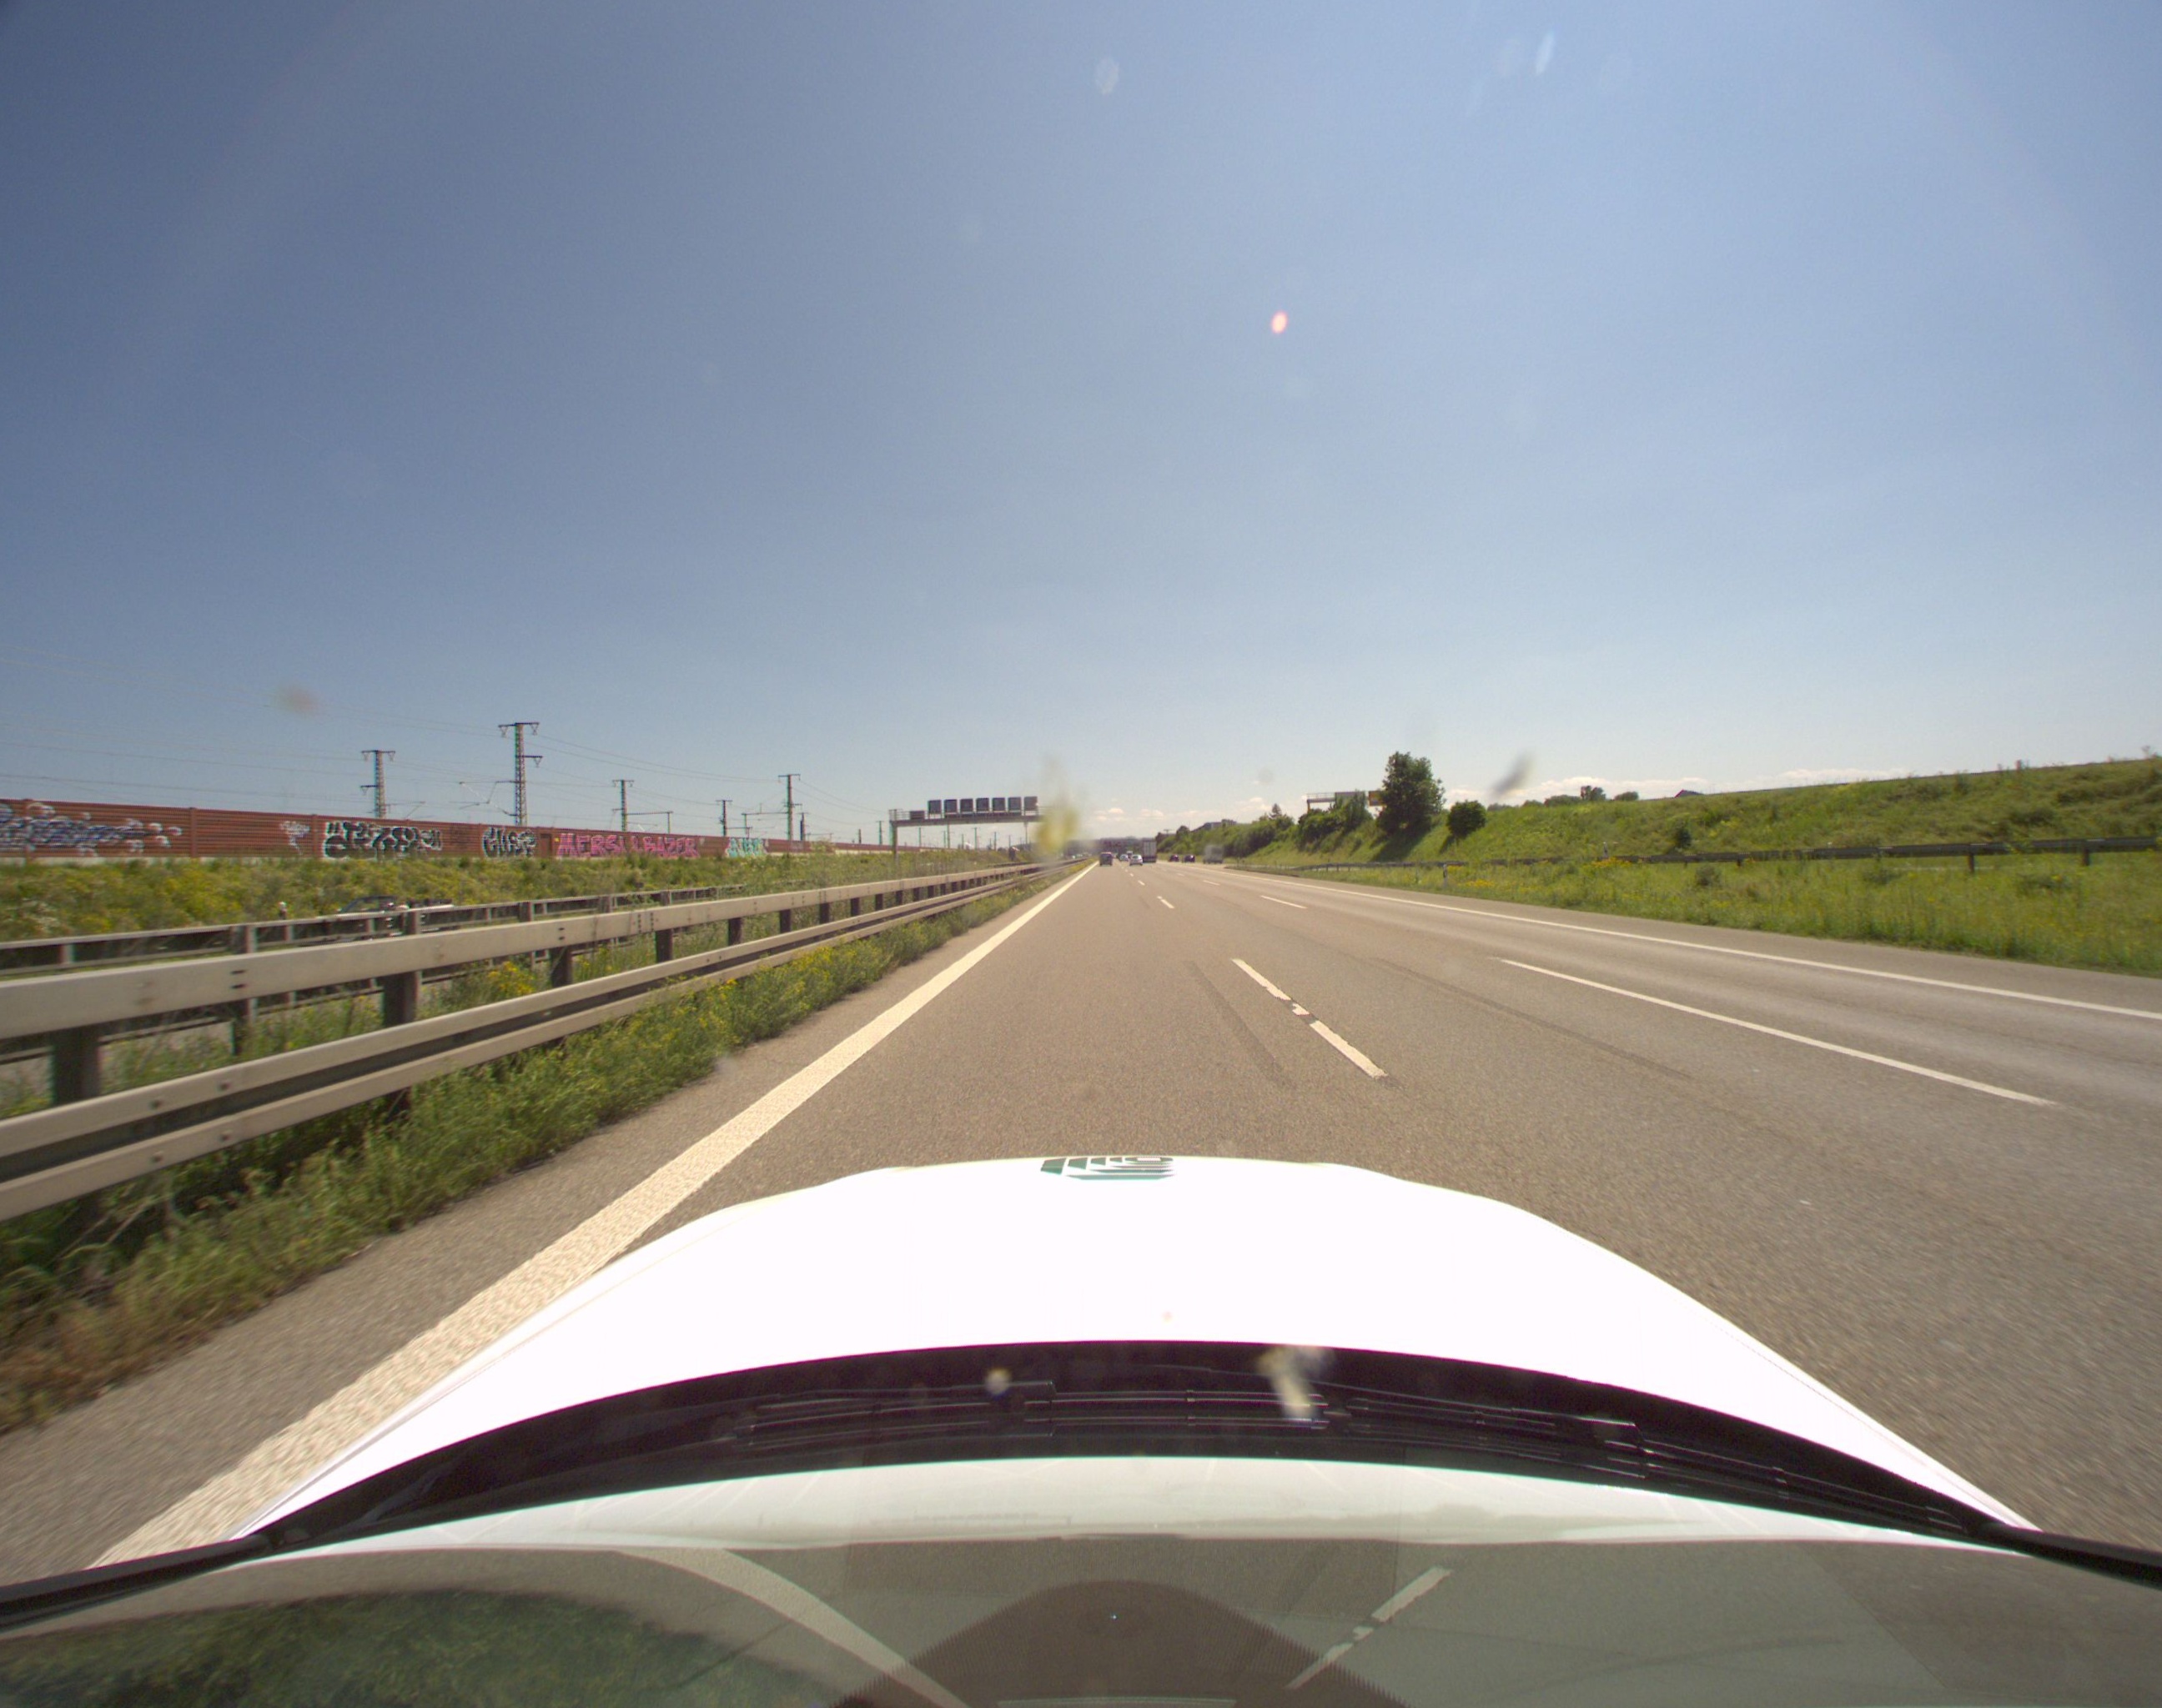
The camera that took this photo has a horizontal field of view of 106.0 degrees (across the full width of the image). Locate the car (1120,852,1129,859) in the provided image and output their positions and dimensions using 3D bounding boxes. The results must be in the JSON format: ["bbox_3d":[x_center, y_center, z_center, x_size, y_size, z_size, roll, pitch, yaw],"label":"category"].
[{"bbox_3d":[9.560,0.397,178.396,1.873,1.526,4.003,-1,-1,3],"label":"car"}]

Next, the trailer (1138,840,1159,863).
[{"bbox_3d":[12.345,-0.461,149.726,3.165,4.059,9.444,-2,0,2],"label":"trailer"}]

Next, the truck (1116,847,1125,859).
[{"bbox_3d":[10.713,-0.270,220.670,2.346,3.416,6.060,-1,0,2],"label":"truck"}]

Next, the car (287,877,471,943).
[{"bbox_3d":[-19.340,1.482,22.680,1.714,1.544,3.811,-1,0,2],"label":"car"}]

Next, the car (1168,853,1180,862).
[{"bbox_3d":[18.606,0.755,163.159,1.986,1.596,4.001,0,-1,1],"label":"car"}]

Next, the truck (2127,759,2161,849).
[{"bbox_3d":[26.367,-1.214,16.547,2.160,2.092,6.110,-1,0,-4],"label":"truck"}]

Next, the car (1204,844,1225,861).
[{"bbox_3d":[20.272,-0.273,123.917,2.266,2.528,5.400,-1,0,1],"label":"car"}]

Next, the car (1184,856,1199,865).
[{"bbox_3d":[19.356,1.118,142.711,1.987,1.508,3.998,0,-1,-1],"label":"car"}]

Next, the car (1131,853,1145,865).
[{"bbox_3d":[7.804,0.692,111.269,1.872,1.526,4.005,-1,-1,5],"label":"car"}]

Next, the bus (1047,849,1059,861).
[{"bbox_3d":[-8.290,0.296,242.235,2.846,3.645,10.945,0,0,2],"label":"bus"}]

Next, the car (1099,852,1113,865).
[{"bbox_3d":[3.502,0.608,112.326,1.873,1.775,4.002,-2,-1,2],"label":"car"}]
